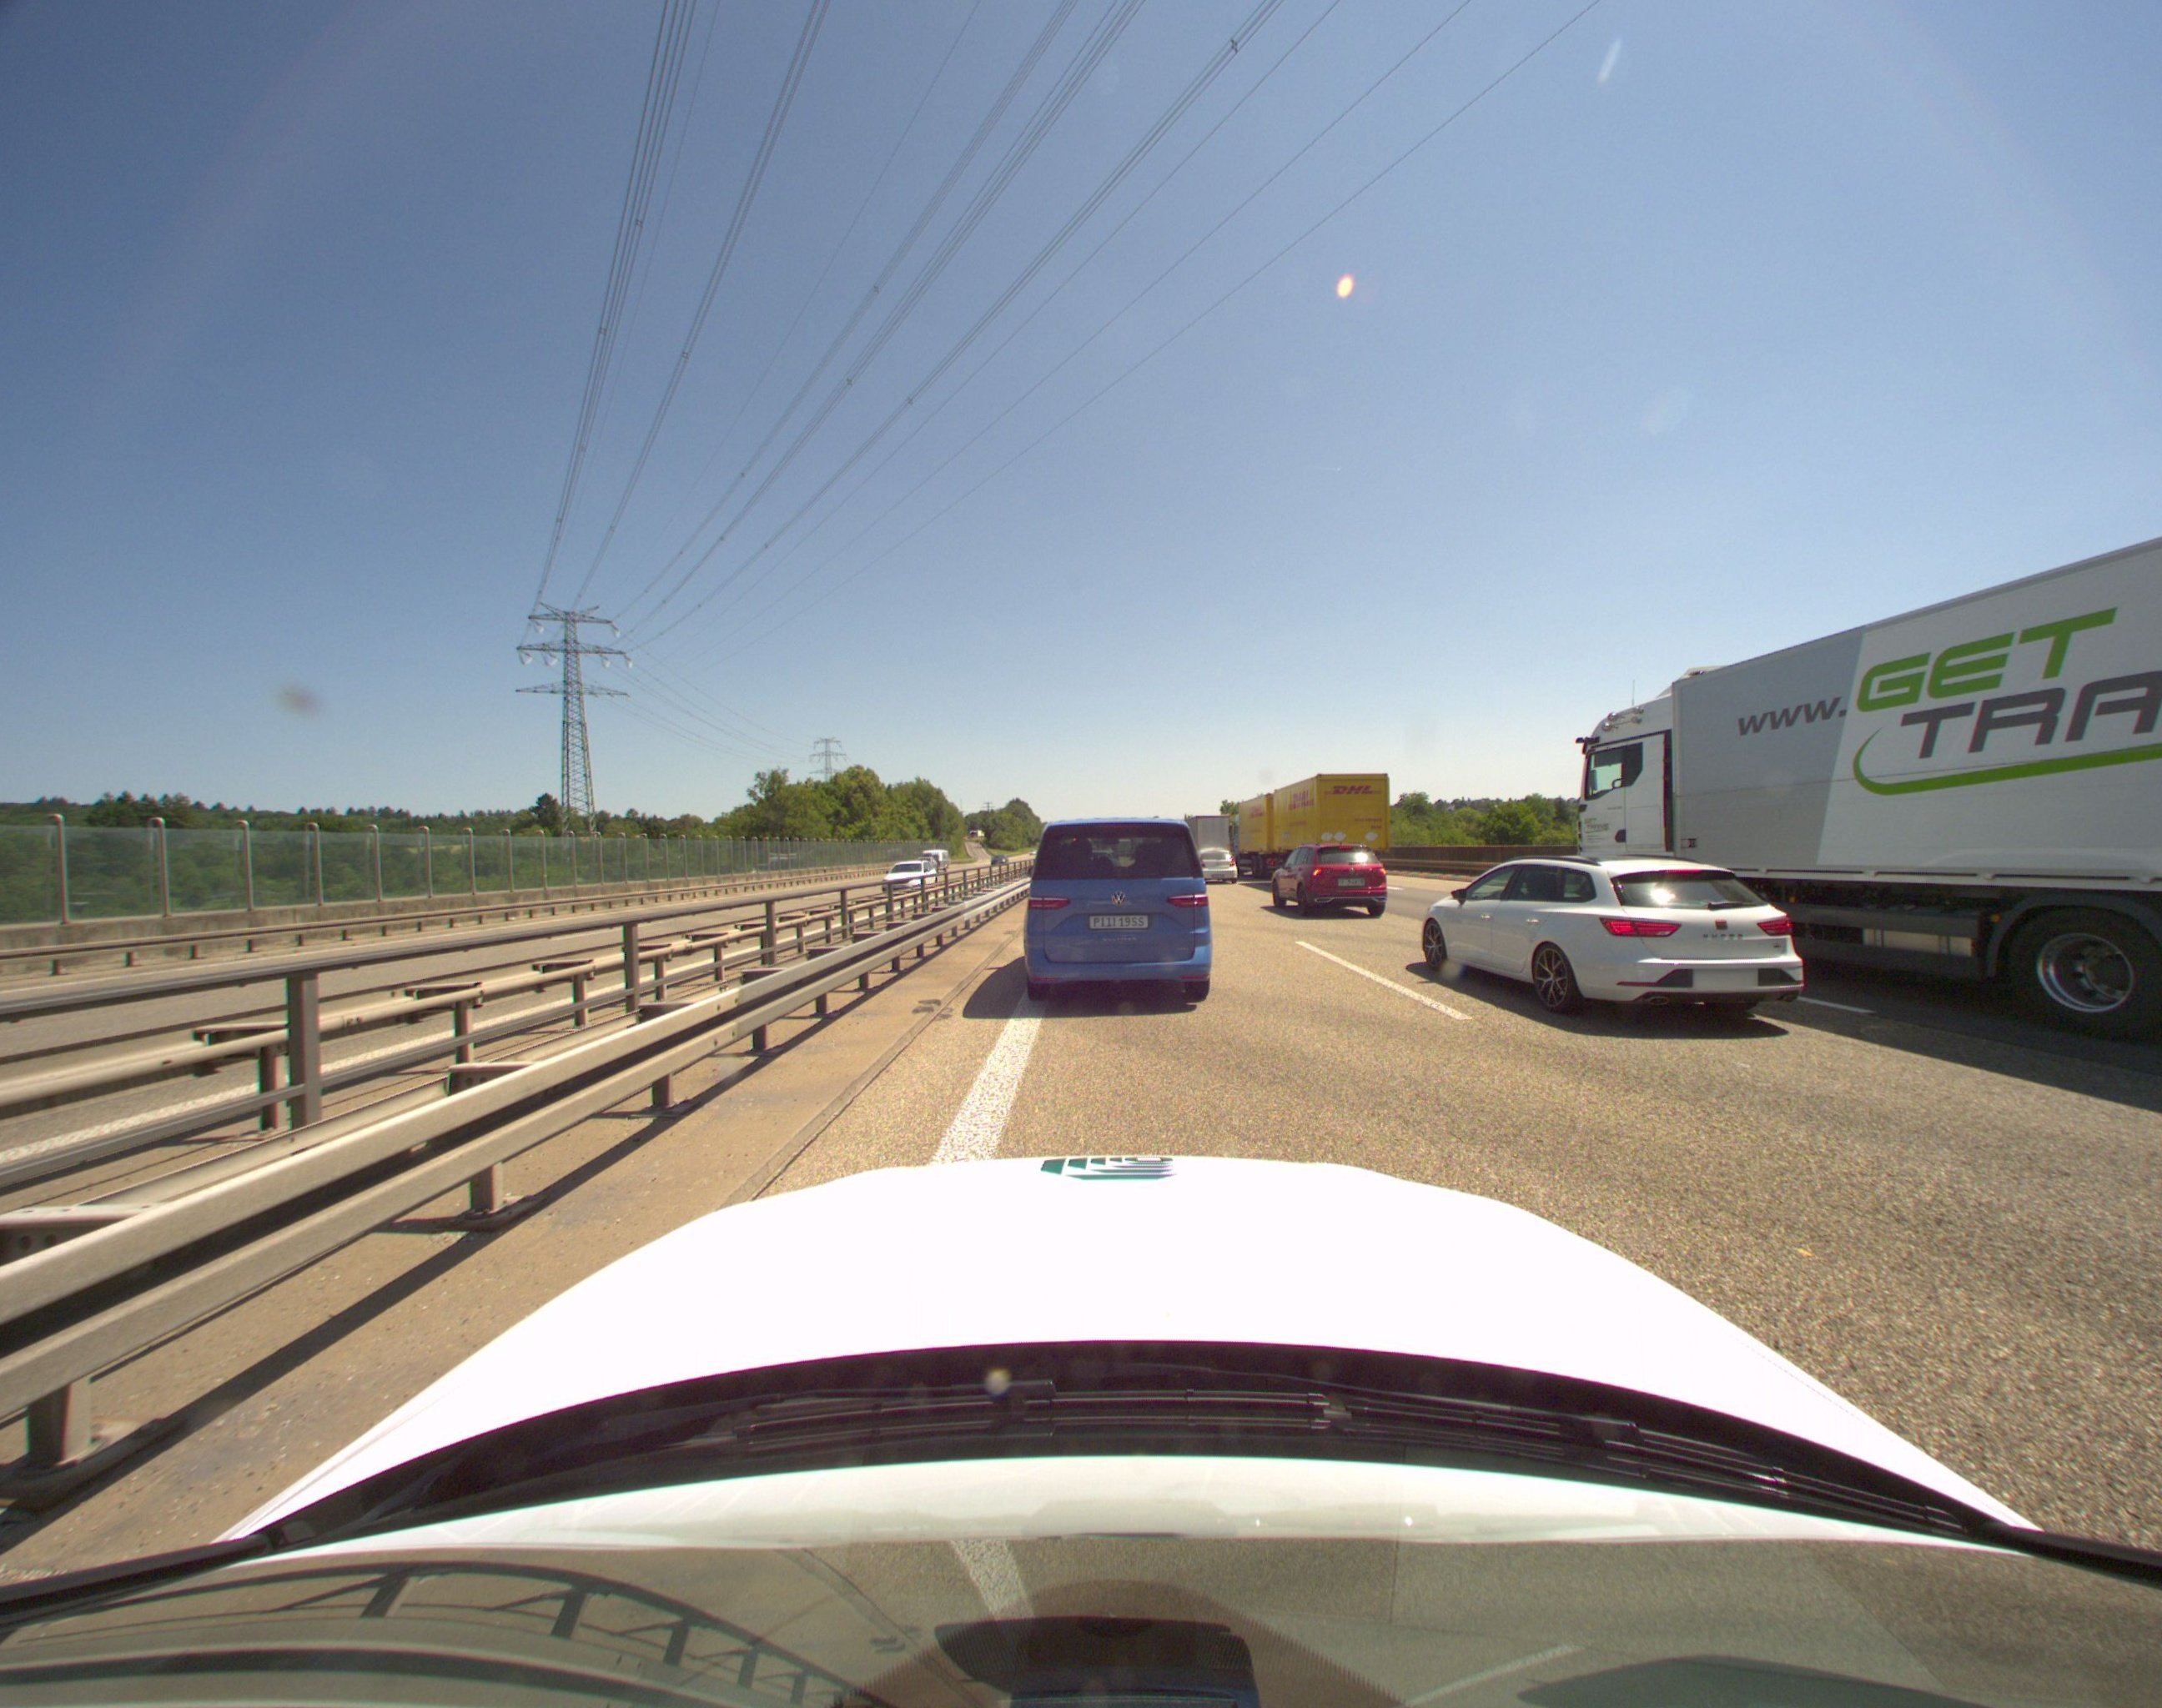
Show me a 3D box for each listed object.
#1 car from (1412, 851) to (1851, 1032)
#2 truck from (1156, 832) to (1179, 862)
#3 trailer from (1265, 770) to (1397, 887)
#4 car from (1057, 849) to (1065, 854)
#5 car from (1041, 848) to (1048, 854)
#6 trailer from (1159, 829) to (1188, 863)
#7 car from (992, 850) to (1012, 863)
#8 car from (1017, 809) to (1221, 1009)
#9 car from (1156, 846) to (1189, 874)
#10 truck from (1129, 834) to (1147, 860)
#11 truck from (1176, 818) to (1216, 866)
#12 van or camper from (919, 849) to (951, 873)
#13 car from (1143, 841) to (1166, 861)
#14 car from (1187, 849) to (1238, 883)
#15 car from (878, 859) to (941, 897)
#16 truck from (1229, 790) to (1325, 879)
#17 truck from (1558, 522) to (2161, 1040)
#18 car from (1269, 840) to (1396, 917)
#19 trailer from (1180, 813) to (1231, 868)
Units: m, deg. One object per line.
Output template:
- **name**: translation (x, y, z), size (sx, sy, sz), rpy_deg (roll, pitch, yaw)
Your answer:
- **car**: translation (5.173, 0.683, 8.489), size (1.775, 1.387, 4.188), rpy_deg (-1, 0, 0)
- **truck**: translation (10.933, -0.852, 103.072), size (2.359, 3.722, 6.034), rpy_deg (0, 0, 1)
- **trailer**: translation (9.633, -0.868, 32.598), size (2.692, 4.023, 8.932), rpy_deg (0, 0, 1)
- **car**: translation (-5.758, -0.688, 234.396), size (1.834, 1.529, 3.559), rpy_deg (-3, 0, 1)
- **car**: translation (-9.996, -0.827, 223.317), size (1.794, 1.386, 4.264), rpy_deg (0, 0, 1)
- **trailer**: translation (10.874, -0.894, 96.971), size (2.371, 3.744, 11.189), rpy_deg (0, 0, 1)
- **car**: translation (-9.751, 0.306, 100.760), size (1.849, 1.397, 4.677), rpy_deg (-1, 1, 2)
- **car**: translation (0.408, 0.507, 9.631), size (1.875, 1.837, 4.001), rpy_deg (-1, 0, 1)
- **car**: translation (5.583, 0.380, 50.021), size (1.709, 1.587, 3.822), rpy_deg (-1, -1, 1)
- **truck**: translation (11.306, -1.364, 162.247), size (2.824, 5.040, 11.144), rpy_deg (0, 0, 0)
- **truck**: translation (10.272, -0.988, 73.244), size (2.758, 4.095, 6.986), rpy_deg (0, 0, 1)
- **van or camper**: translation (-14.543, 0.706, 81.348), size (1.987, 2.211, 5.537), rpy_deg (-4, 0, 1)
- **car**: translation (6.323, -0.215, 70.458), size (1.709, 1.540, 3.821), rpy_deg (-1, -2, 1)
- **car**: translation (5.781, 0.502, 36.196), size (1.830, 1.414, 4.004), rpy_deg (-1, 0, 4)
- **car**: translation (-7.555, 1.014, 36.277), size (1.751, 1.449, 4.287), rpy_deg (-3, 0, 1)
- **truck**: translation (9.855, -0.859, 42.246), size (2.712, 4.054, 10.338), rpy_deg (0, 0, 1)
- **truck**: translation (8.973, -0.517, 7.611), size (2.841, 3.602, 10.769), rpy_deg (0, 0, 1)
- **car**: translation (5.797, 0.506, 19.272), size (1.844, 1.608, 4.001), rpy_deg (-1, 0, 1)
- **trailer**: translation (10.118, -1.019, 67.182), size (2.745, 4.146, 11.315), rpy_deg (0, 0, 1)
